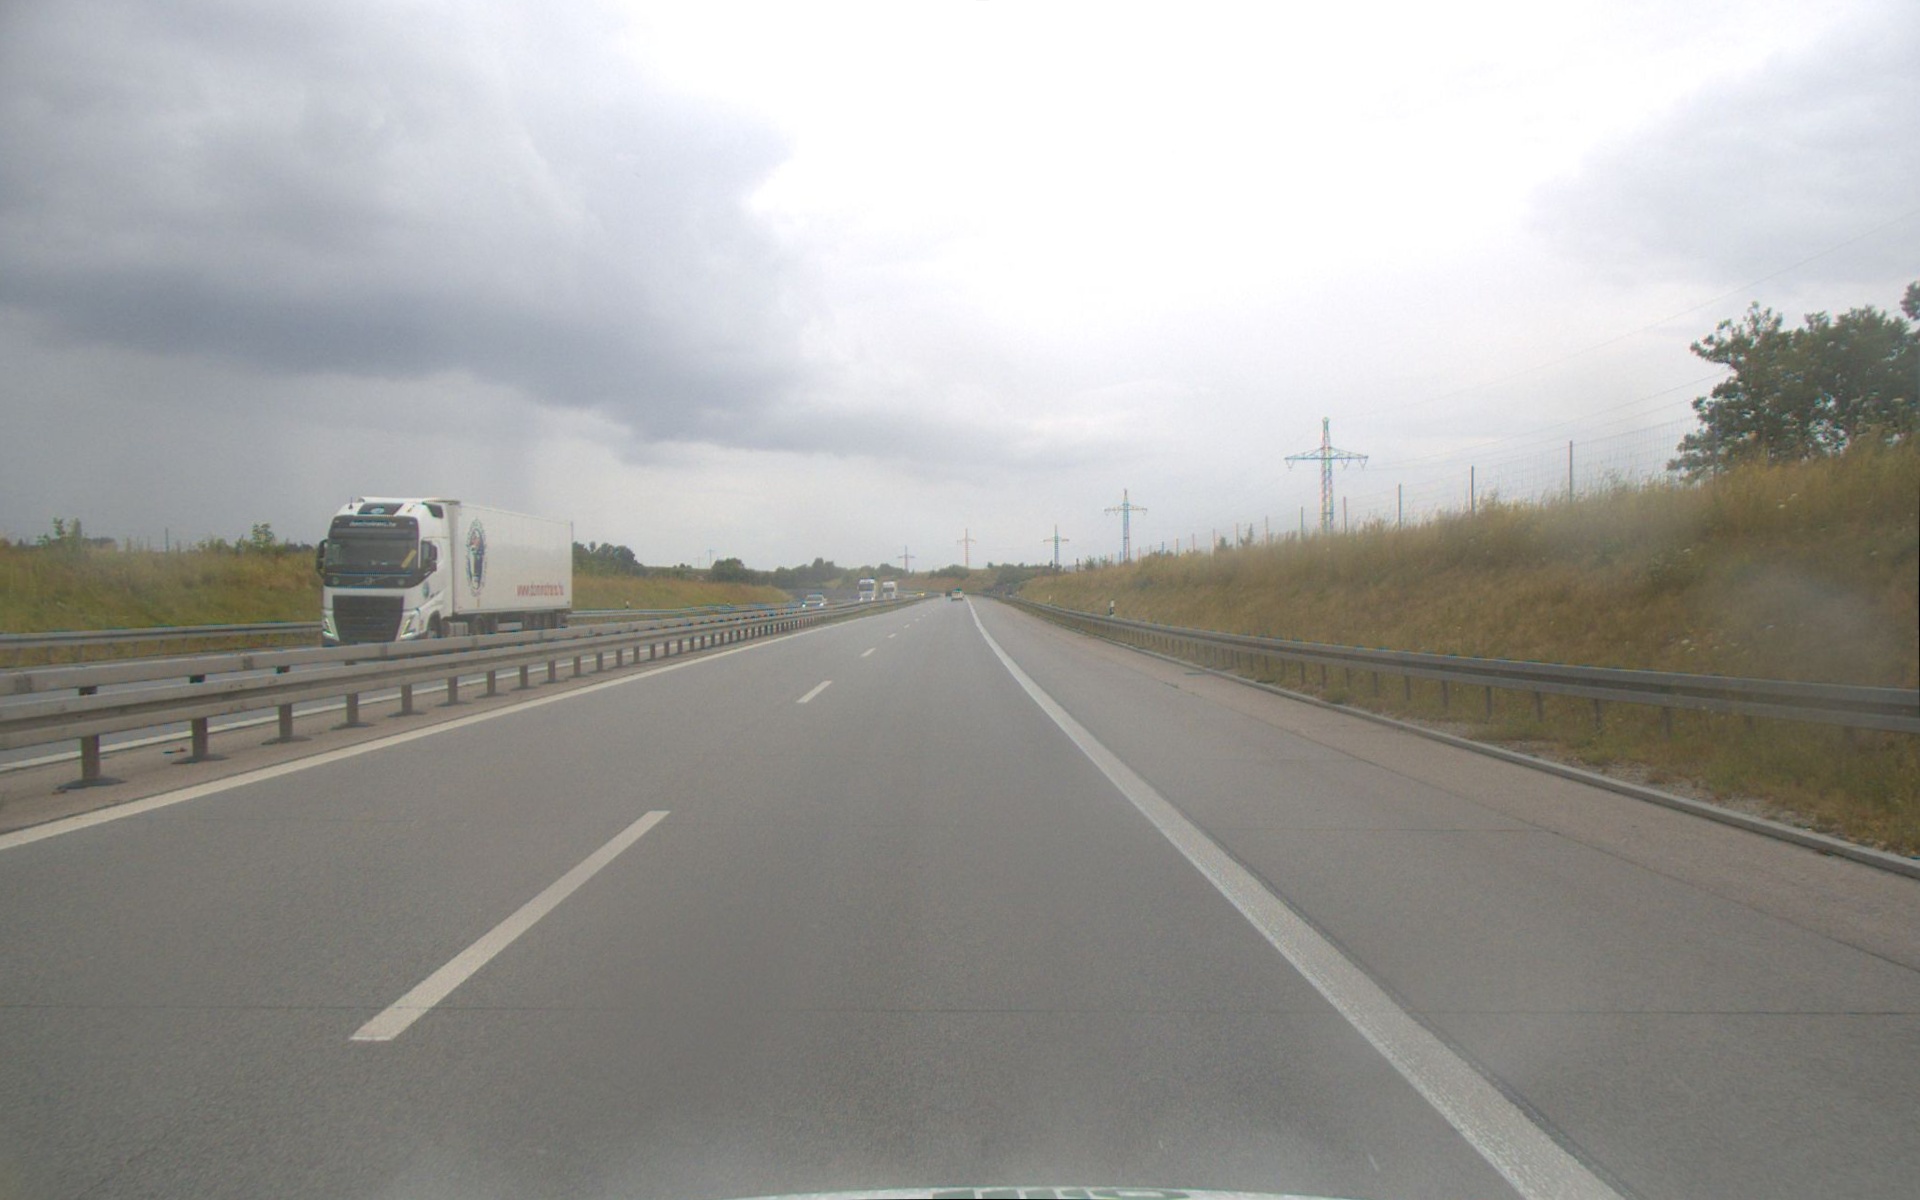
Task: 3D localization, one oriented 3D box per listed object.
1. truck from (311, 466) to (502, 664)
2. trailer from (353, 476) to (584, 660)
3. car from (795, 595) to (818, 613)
[{"bbox_3d":[-14.269,-0.854,43.246,2.738,4.728,6.919,0,0,-1],"label":"truck"},{"bbox_3d":[-14.368,-0.853,50.096,2.738,4.731,14.844,0,0,-1],"label":"trailer"},{"bbox_3d":[-12.526,0.337,135.093,1.728,1.449,3.998,-1,0,-3],"label":"car"}]
